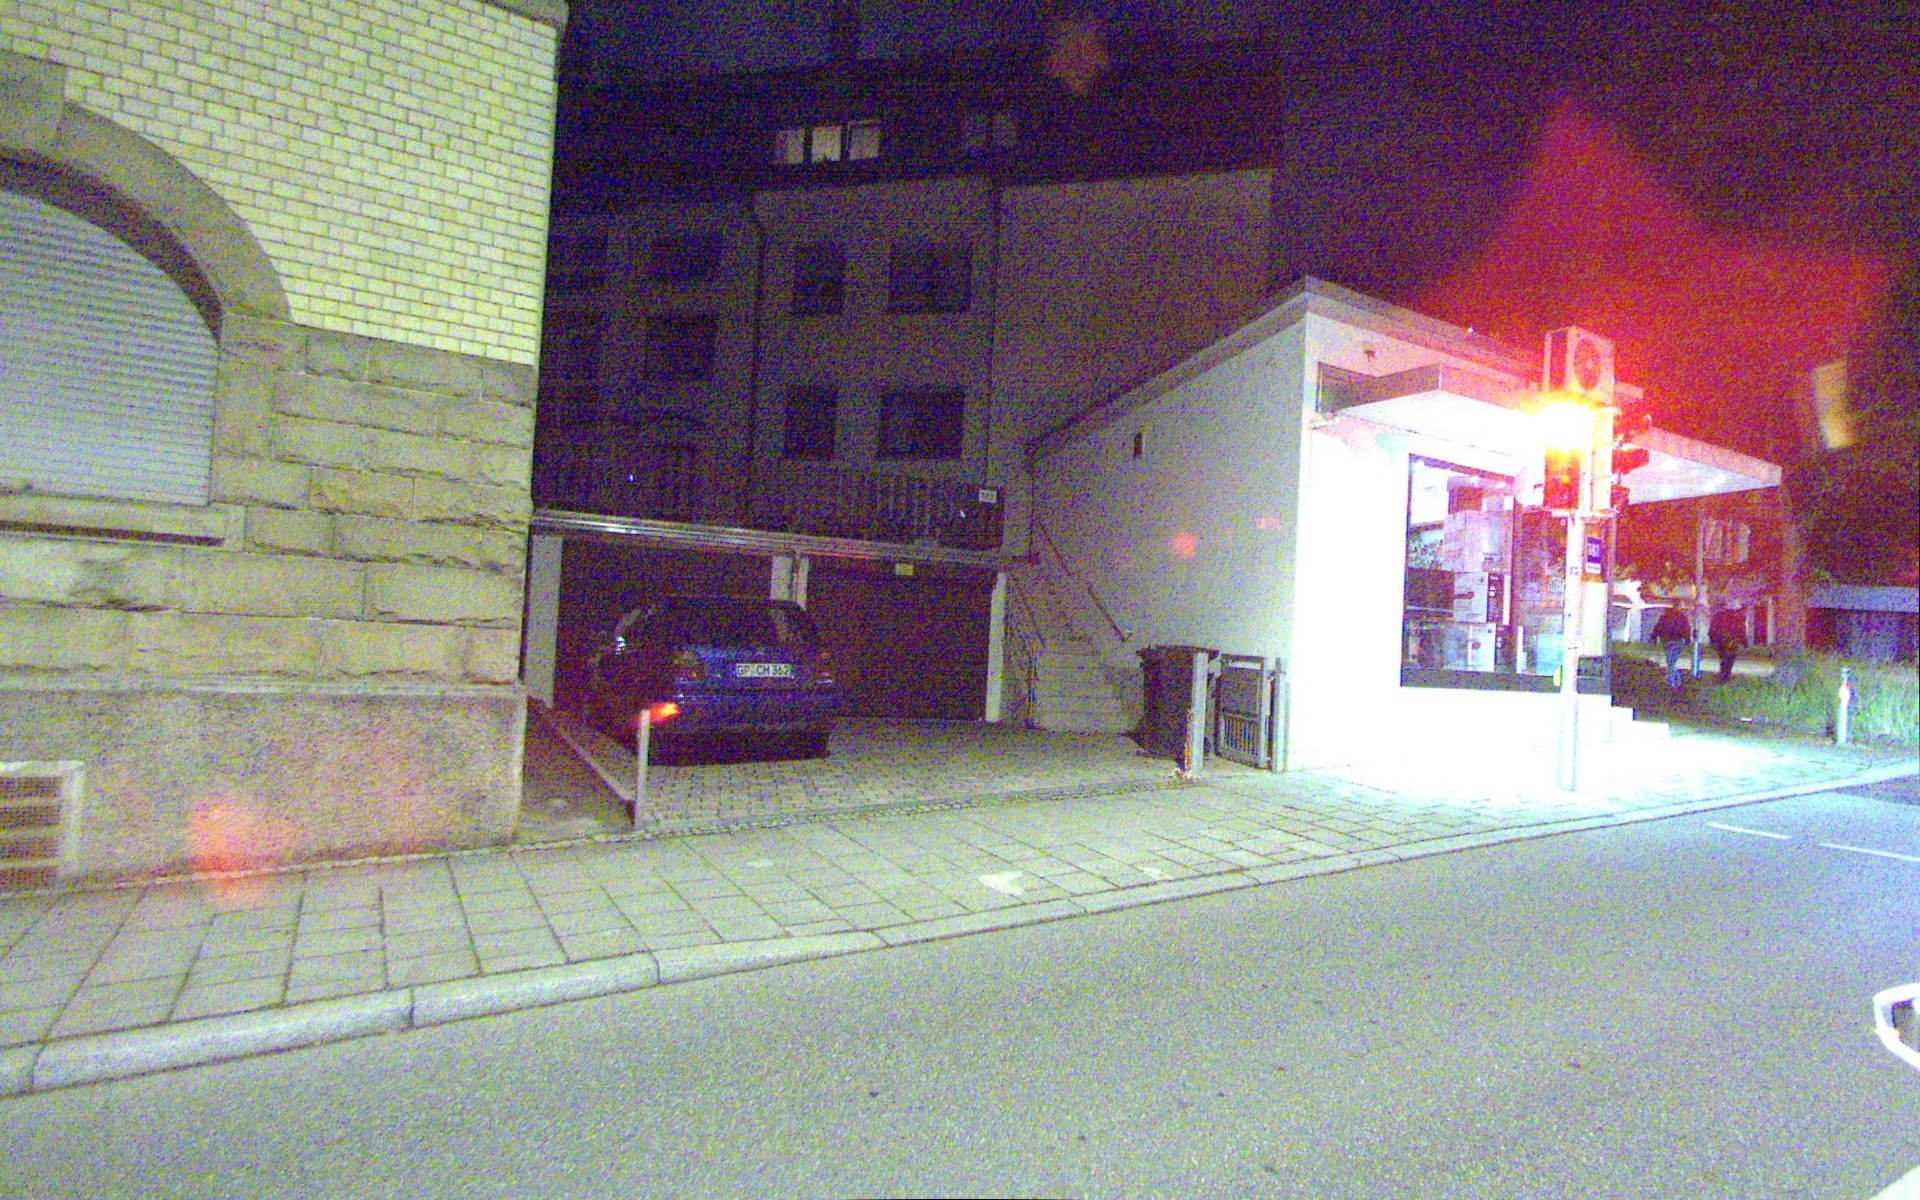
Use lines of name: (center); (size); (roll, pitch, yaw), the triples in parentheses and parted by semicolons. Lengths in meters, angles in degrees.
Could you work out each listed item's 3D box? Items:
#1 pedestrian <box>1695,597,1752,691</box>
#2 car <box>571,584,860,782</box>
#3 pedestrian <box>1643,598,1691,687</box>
pedestrian: (15.041, 0.863, 19.790); (0.729, 1.801, 0.567); (2, 2, -30)
car: (-2.492, 0.623, 9.565); (1.700, 1.460, 3.631); (2, 0, -30)
pedestrian: (14.220, 0.851, 20.207); (0.537, 1.754, 0.567); (2, 0, -30)
